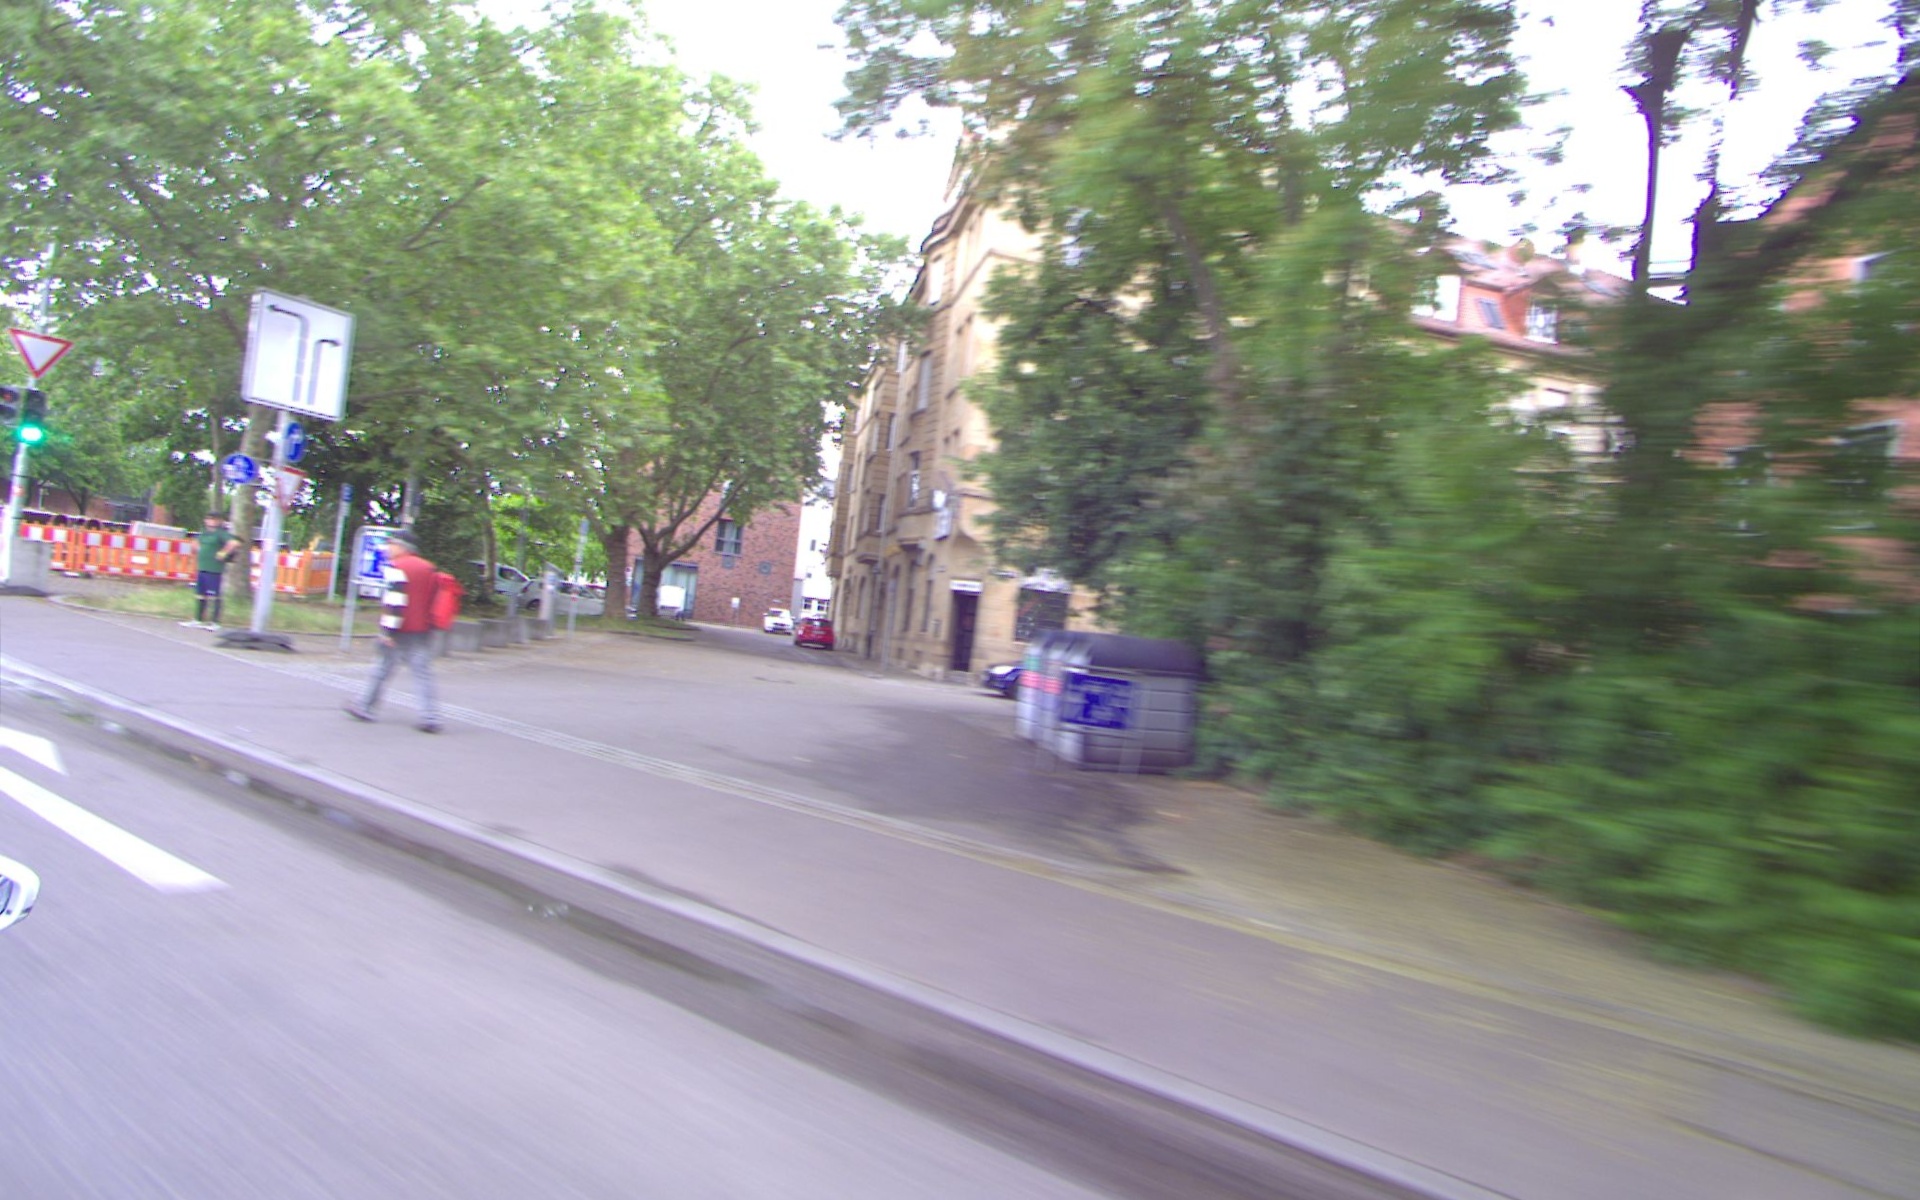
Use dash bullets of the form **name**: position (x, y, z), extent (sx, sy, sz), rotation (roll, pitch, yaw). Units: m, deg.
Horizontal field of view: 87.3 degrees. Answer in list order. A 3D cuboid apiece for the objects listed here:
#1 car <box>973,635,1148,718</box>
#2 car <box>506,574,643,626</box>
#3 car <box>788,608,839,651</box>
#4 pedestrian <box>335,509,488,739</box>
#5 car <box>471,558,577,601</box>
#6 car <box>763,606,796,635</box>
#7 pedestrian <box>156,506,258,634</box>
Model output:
- **car**: position (2.510, 1.914, 25.605), extent (4.019, 1.482, 1.729), rotation (8, 0, -7)
- **car**: position (-14.027, 0.008, 36.845), extent (4.438, 1.341, 1.715), rotation (7, -1, -16)
- **car**: position (-6.990, 1.351, 47.636), extent (1.967, 1.731, 4.399), rotation (6, -2, -12)
- **pedestrian**: position (-4.760, 0.205, 8.744), extent (0.715, 1.854, 0.780), rotation (7, 1, 32)
- **car**: position (-21.006, -0.964, 48.623), extent (4.442, 1.489, 1.713), rotation (7, -1, -20)
- **car**: position (-11.124, 1.242, 61.898), extent (1.692, 1.524, 4.103), rotation (6, -2, -12)
- **pedestrian**: position (-10.946, -0.426, 14.628), extent (0.822, 1.718, 0.733), rotation (7, 1, 23)
